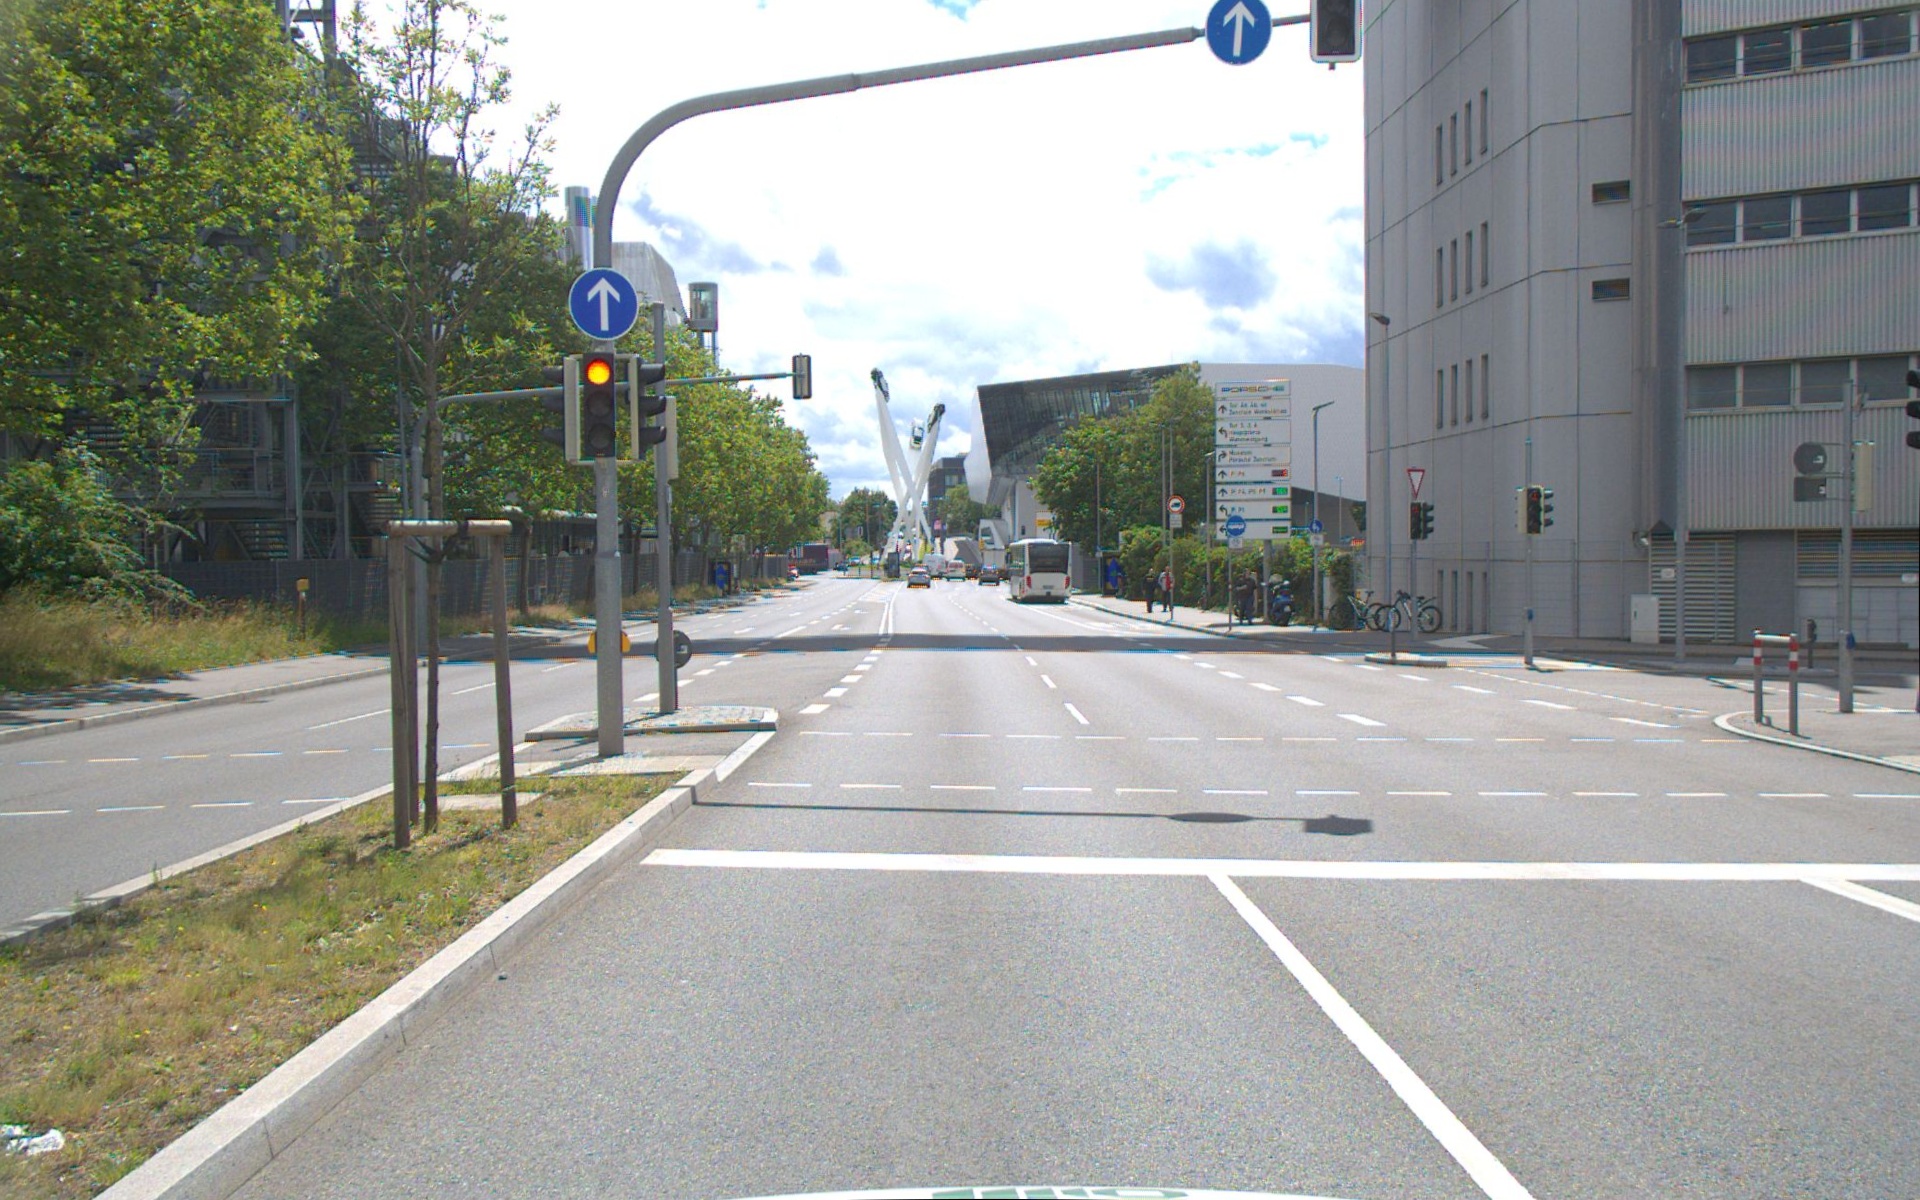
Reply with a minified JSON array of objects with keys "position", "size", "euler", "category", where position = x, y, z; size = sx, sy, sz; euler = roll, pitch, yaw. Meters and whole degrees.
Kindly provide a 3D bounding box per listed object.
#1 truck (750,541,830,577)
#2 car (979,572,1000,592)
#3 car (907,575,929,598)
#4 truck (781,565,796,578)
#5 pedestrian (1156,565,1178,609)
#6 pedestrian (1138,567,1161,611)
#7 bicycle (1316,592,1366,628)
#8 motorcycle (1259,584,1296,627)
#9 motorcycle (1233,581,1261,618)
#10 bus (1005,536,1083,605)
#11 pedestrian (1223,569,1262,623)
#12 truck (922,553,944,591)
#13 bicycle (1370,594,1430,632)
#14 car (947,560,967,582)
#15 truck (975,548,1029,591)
[{"position":[-23.074,-5.527,225.376],"size":[3.503,4.400,12.119],"euler":[0,-1,36],"category":"truck"},{"position":[2.574,-1.585,146.094],"size":[1.703,1.772,3.691],"euler":[0,1,-1],"category":"car"},{"position":[-3.288,-1.063,131.212],"size":[1.703,1.772,3.691],"euler":[0,1,-1],"category":"car"},{"position":[-22.033,-3.657,212.692],"size":[1.556,1.564,3.666],"euler":[0,1,-13],"category":"truck"},{"position":[8.334,-0.515,66.642],"size":[0.803,1.772,0.637],"euler":[0,0,-1],"category":"pedestrian"},{"position":[7.633,-0.443,66.564],"size":[0.803,1.737,0.881],"euler":[0,0,-1],"category":"pedestrian"},{"position":[10.532,0.260,45.805],"size":[0.391,0.953,1.917],"euler":[0,1,-19],"category":"bicycle"},{"position":[9.533,0.145,49.711],"size":[0.692,1.224,2.024],"euler":[-2,1,-1],"category":"motorcycle"},{"position":[9.978,-0.037,57.523],"size":[0.562,1.224,2.024],"euler":[-2,1,-1],"category":"motorcycle"},{"position":[4.516,-1.589,91.294],"size":[3.383,3.605,10.602],"euler":[0,1,-2],"category":"bus"},{"position":[8.655,-0.133,50.657],"size":[0.834,1.653,0.951],"euler":[1,0,40],"category":"pedestrian"},{"position":[-2.863,-3.012,176.626],"size":[2.343,3.965,6.176],"euler":[0,1,-1],"category":"truck"},{"position":[11.566,0.330,43.534],"size":[0.392,0.953,1.912],"euler":[0,1,-26],"category":"bicycle"},{"position":[-0.342,-2.855,166.040],"size":[1.953,2.049,3.999],"euler":[1,-1,-1],"category":"car"},{"position":[4.505,-3.218,176.165],"size":[3.379,4.468,9.426],"euler":[0,1,17],"category":"truck"}]
